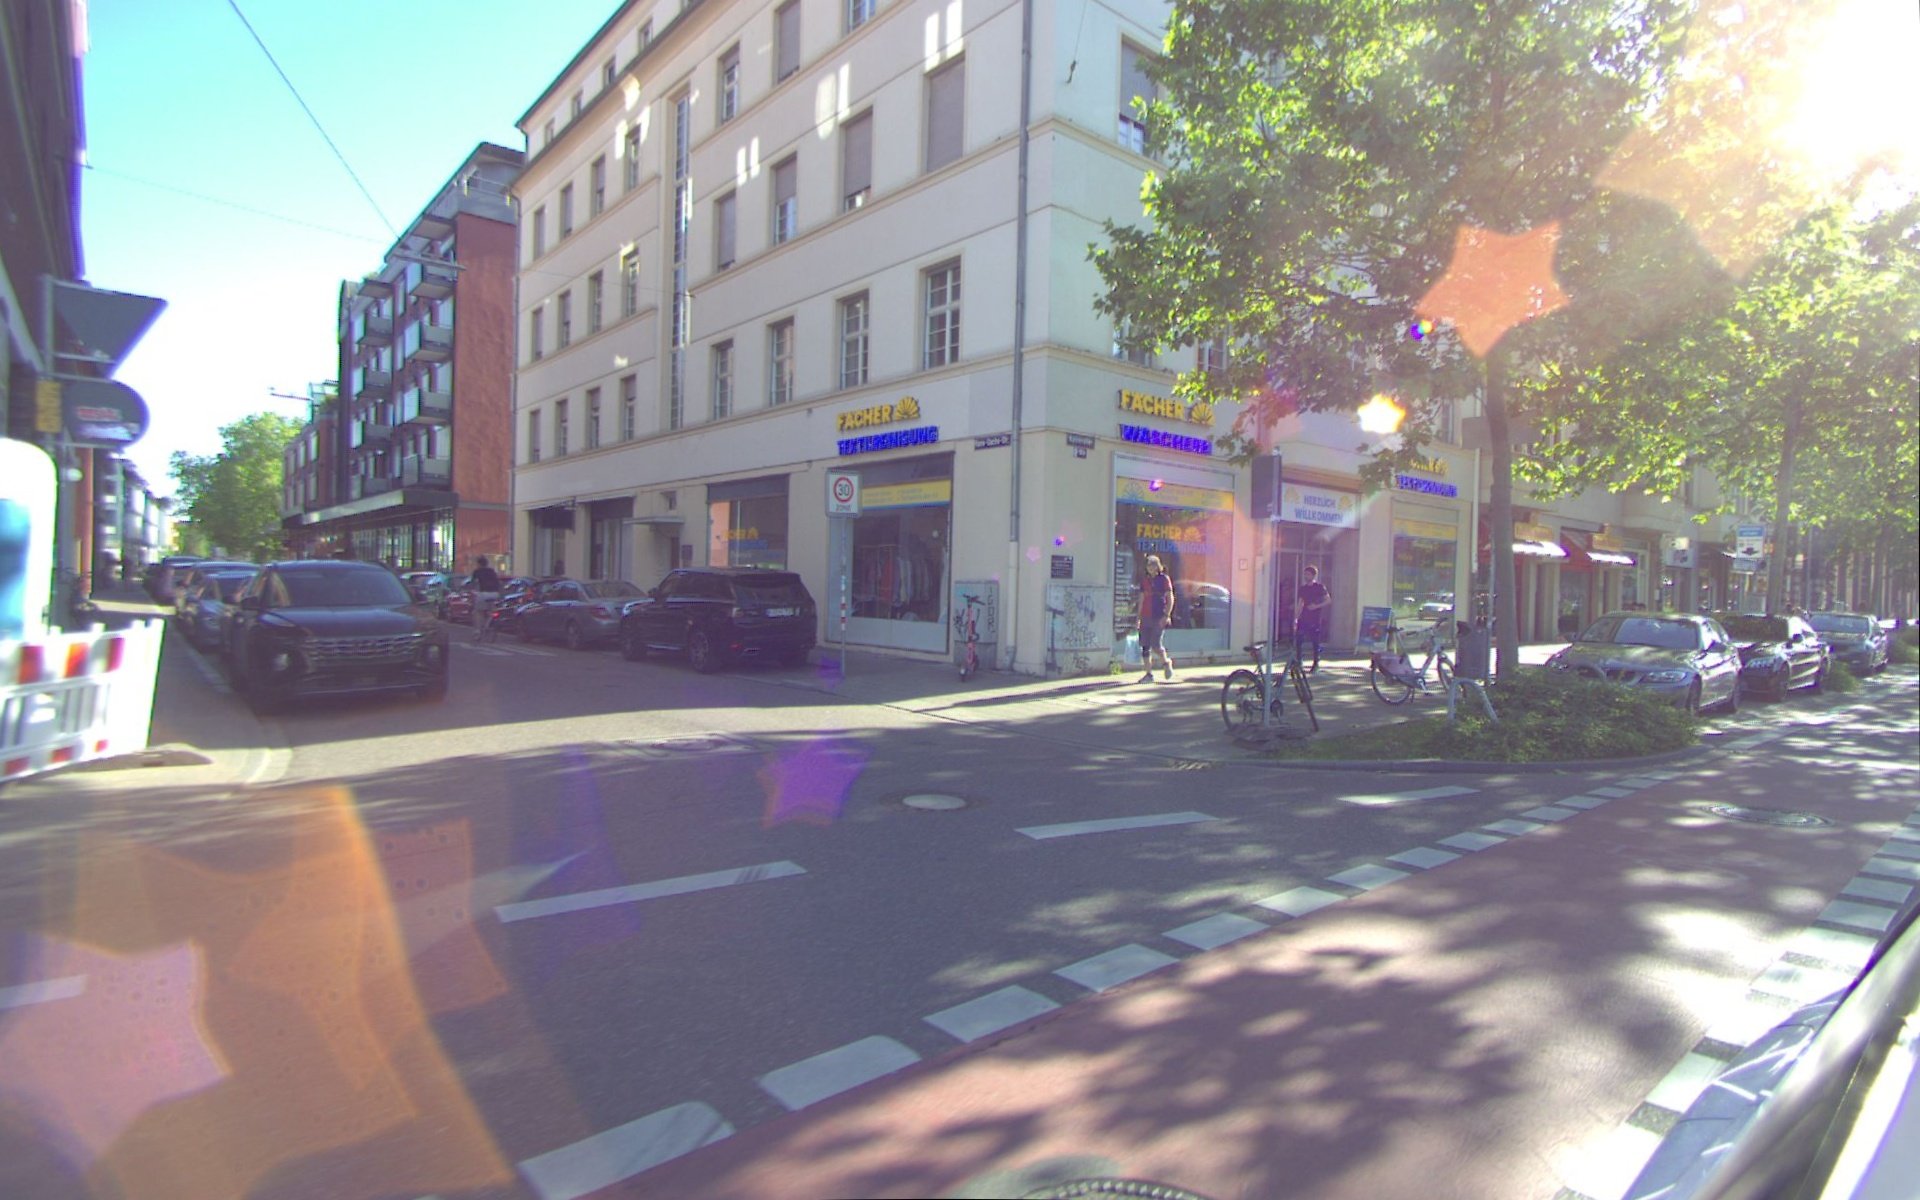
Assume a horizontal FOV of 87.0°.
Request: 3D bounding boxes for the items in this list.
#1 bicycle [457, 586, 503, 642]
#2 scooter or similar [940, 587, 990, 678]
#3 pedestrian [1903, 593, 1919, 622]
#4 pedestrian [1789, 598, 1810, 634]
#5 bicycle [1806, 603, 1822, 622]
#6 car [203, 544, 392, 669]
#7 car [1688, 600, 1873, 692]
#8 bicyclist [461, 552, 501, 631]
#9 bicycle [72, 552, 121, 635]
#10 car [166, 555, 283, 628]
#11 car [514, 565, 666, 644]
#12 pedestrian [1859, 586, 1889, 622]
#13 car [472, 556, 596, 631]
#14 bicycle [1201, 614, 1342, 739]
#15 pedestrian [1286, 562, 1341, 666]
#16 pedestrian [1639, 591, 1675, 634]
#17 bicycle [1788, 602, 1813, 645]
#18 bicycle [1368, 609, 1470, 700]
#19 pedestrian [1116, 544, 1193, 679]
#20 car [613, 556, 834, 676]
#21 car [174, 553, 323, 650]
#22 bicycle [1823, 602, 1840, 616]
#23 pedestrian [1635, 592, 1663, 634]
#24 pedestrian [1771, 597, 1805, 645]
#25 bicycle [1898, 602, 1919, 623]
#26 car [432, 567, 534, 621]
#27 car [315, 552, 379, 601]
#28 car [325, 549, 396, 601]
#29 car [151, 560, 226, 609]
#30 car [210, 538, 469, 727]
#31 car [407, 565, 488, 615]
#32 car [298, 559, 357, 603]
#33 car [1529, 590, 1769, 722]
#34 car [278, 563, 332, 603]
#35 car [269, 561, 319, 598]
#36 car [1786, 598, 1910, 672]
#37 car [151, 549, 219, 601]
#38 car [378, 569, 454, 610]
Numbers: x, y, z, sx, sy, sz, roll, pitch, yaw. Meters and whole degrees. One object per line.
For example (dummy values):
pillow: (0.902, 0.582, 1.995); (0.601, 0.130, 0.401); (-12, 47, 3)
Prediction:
bicycle: (-10.538, 0.290, 22.198); (0.415, 1.151, 1.827); (1, 1, -41)
scooter or similar: (0.083, 0.465, 15.059); (0.377, 1.302, 1.199); (-1, -1, 19)
pedestrian: (61.008, 0.472, 64.851); (0.877, 1.850, 0.645); (0, -1, -31)
pedestrian: (38.580, 0.747, 46.505); (0.553, 1.642, 0.682); (0, -1, -43)
bicycle: (48.541, 0.695, 57.497); (1.850, 1.010, 0.415); (0, 1, -42)
car: (-10.421, 0.067, 15.796); (1.965, 1.679, 4.119); (0, 0, -40)
car: (15.939, 0.798, 19.570); (4.513, 1.528, 2.042); (0, 1, -41)
bicyclist: (-10.479, -0.193, 22.128); (0.606, 1.687, 0.666); (1, 1, -42)
bicycle: (-16.460, -0.111, 19.312); (0.677, 1.511, 2.261); (0, -1, -40)
car: (-17.775, -0.223, 24.399); (1.965, 1.594, 3.994); (0, 1, -41)
car: (-8.133, 0.100, 22.056); (1.964, 1.549, 3.995); (0, 0, -39)
pedestrian: (52.701, 0.239, 58.353); (1.027, 2.039, 1.090); (0, -1, -40)
car: (-11.126, -0.205, 26.295); (1.964, 1.772, 3.997); (0, 1, -39)
bicycle: (3.374, 0.756, 10.807); (0.580, 1.177, 2.204); (-1, -1, 41)
pedestrian: (6.044, 0.228, 17.286); (0.757, 1.732, 0.559); (1, 1, -41)
pedestrian: (23.414, 0.416, 34.005); (0.842, 1.386, 0.786); (0, 2, -40)
bicycle: (26.065, 0.710, 31.391); (0.392, 1.229, 1.872); (3, 3, 45)
bicycle: (6.234, 0.706, 13.701); (1.658, 1.150, 0.489); (0, 0, -35)
pedestrian: (2.895, 0.153, 15.070); (0.848, 1.923, 0.715); (0, 1, -41)
car: (-4.296, 0.259, 17.874); (1.965, 1.839, 4.531); (0, 0, -40)
car: (-14.009, 0.073, 19.840); (1.964, 1.672, 3.993); (3, -3, -40)
bicycle: (53.852, 0.561, 62.534); (1.634, 0.783, 0.550); (0, 3, -42)
pedestrian: (22.757, 0.418, 33.438); (0.806, 1.349, 0.536); (0, 2, -40)
pedestrian: (30.909, 0.770, 37.779); (0.901, 1.726, 0.860); (0, 1, -43)
bicycle: (50.909, 0.671, 53.268); (0.447, 1.107, 2.227); (0, -1, -39)
car: (-14.145, -0.155, 29.886); (1.857, 1.488, 3.995); (0, 0, -39)
car: (-27.309, -0.998, 45.043); (1.964, 2.039, 3.995); (0, 0, -39)
car: (-24.735, -0.978, 41.712); (1.964, 2.039, 3.995); (0, 0, -39)
car: (-28.378, -0.534, 37.176); (1.965, 1.672, 3.993); (0, 0, -41)
car: (-7.478, 0.213, 11.995); (1.961, 1.810, 4.308); (-2, 3, -40)
car: (-16.917, -0.288, 33.335); (1.610, 1.546, 3.995); (0, 0, -39)
car: (-30.810, -0.899, 49.275); (1.964, 2.039, 3.995); (0, 0, -39)
car: (9.922, 0.681, 14.440); (4.358, 1.574, 1.792); (0, 1, -41)
car: (-35.098, -0.888, 54.200); (1.965, 2.039, 3.994); (0, 0, -40)
car: (-38.179, -1.127, 57.986); (1.965, 2.039, 3.994); (0, 0, -40)
car: (21.245, 0.786, 24.182); (3.735, 1.521, 1.698); (1, 3, -41)
car: (-31.348, -0.958, 40.876); (1.965, 1.995, 3.993); (0, 0, -41)
car: (-19.722, -0.339, 36.636); (1.728, 1.393, 3.995); (0, 0, -39)
